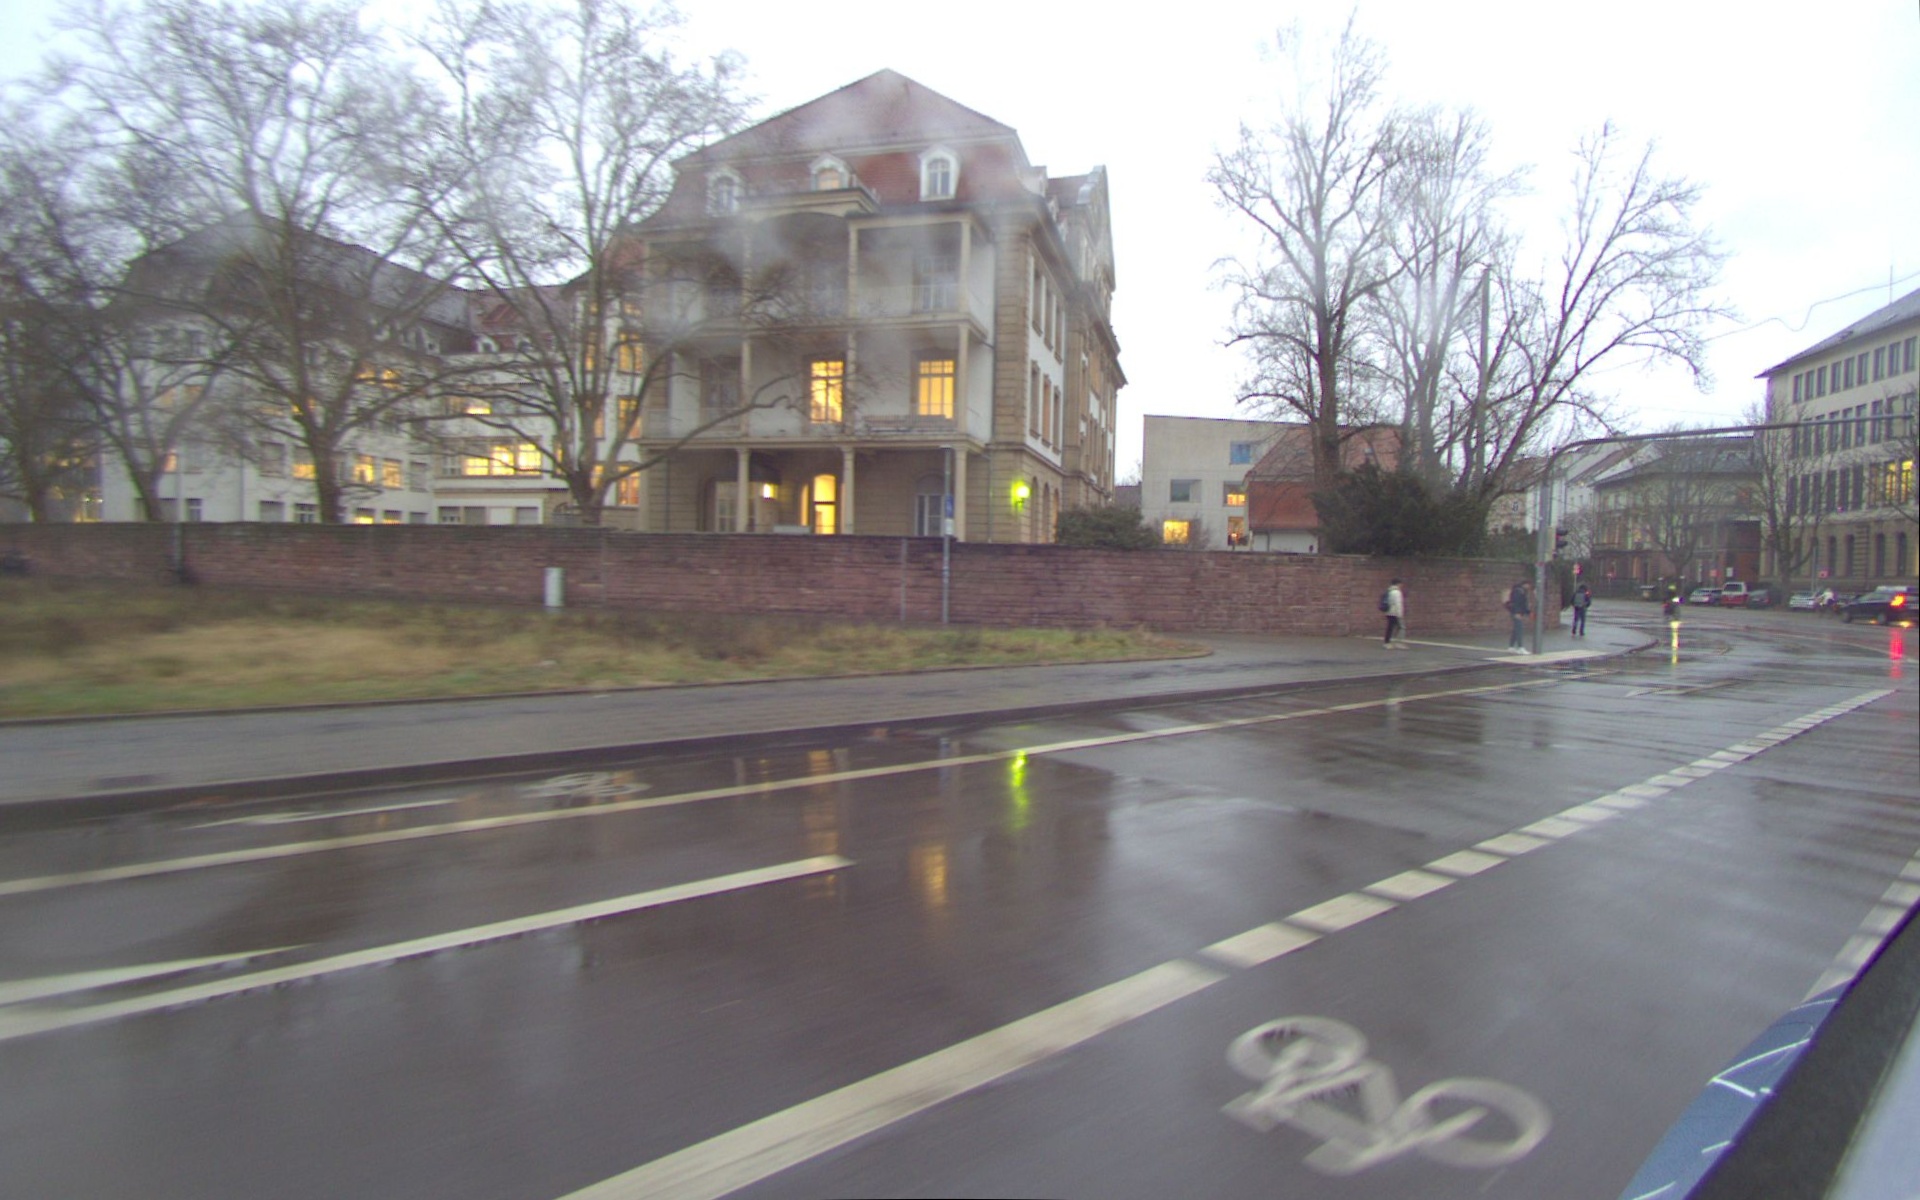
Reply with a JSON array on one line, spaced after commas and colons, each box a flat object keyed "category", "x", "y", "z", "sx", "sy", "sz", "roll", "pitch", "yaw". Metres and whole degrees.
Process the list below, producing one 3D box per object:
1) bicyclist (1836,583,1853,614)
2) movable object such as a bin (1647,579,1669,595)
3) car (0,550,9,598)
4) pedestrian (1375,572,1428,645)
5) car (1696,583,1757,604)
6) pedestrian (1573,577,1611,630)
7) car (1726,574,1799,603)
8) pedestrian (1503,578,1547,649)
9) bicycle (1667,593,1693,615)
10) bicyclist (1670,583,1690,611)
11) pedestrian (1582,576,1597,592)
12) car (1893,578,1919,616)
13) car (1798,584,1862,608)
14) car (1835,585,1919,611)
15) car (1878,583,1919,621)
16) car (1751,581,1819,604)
[{"category": "bicyclist", "x": 51.335, "y": -0.076, "z": 58.739, "sx": 0.578, "sy": 1.789, "sz": 0.612, "roll": -2, "pitch": 1, "yaw": -32}, {"category": "movable object such as a bin", "x": 64.736, "y": -1.227, "z": 93.863, "sx": 0.966, "sy": 1.482, "sz": 1.347, "roll": -2, "pitch": 2, "yaw": -23}, {"category": "car", "x": -19.917, "y": -0.513, "z": 19.447, "sx": 1.275, "sy": 0.989, "sz": 2.688, "roll": 2, "pitch": 1, "yaw": -16}, {"category": "pedestrian", "x": 10.719, "y": 0.181, "z": 24.606, "sx": 0.947, "sy": 1.696, "sz": 0.777, "roll": 2, "pitch": 2, "yaw": 11}, {"category": "car", "x": 62.473, "y": -0.540, "z": 82.487, "sx": 4.097, "sy": 1.610, "sz": 1.779, "roll": -2, "pitch": 2, "yaw": -14}, {"category": "pedestrian", "x": 21.002, "y": 0.100, "z": 33.630, "sx": 0.805, "sy": 1.705, "sz": 1.139, "roll": 4, "pitch": 3, "yaw": 42}, {"category": "car", "x": 60.953, "y": -0.906, "z": 76.891, "sx": 4.526, "sy": 2.079, "sz": 1.970, "roll": -2, "pitch": 2, "yaw": -12}, {"category": "pedestrian", "x": 13.921, "y": 0.320, "z": 24.942, "sx": 0.788, "sy": 1.696, "sz": 0.720, "roll": 4, "pitch": 3, "yaw": 36}, {"category": "bicycle", "x": 36.727, "y": 0.178, "z": 51.650, "sx": 0.717, "sy": 1.104, "sz": 2.265, "roll": 0, "pitch": 0, "yaw": 25}, {"category": "bicyclist", "x": 36.703, "y": -0.159, "z": 51.610, "sx": 0.710, "sy": 1.359, "sz": 0.713, "roll": 0, "pitch": 1, "yaw": 26}, {"category": "pedestrian", "x": 66.060, "y": -1.684, "z": 106.171, "sx": 0.905, "sy": 1.724, "sz": 0.949, "roll": -1, "pitch": 1, "yaw": -8}, {"category": "car", "x": 56.150, "y": -0.222, "z": 58.173, "sx": 4.704, "sy": 2.058, "sz": 1.916, "roll": -2, "pitch": 2, "yaw": -23}, {"category": "car", "x": 59.288, "y": -0.300, "z": 68.970, "sx": 3.747, "sy": 1.475, "sz": 1.641, "roll": -2, "pitch": 2, "yaw": -19}, {"category": "car", "x": 58.180, "y": -0.156, "z": 64.150, "sx": 4.384, "sy": 1.475, "sz": 1.804, "roll": -2, "pitch": 2, "yaw": -12}, {"category": "car", "x": 45.676, "y": 0.094, "z": 48.241, "sx": 1.745, "sy": 1.682, "sz": 4.484, "roll": 3, "pitch": 3, "yaw": 29}, {"category": "car", "x": 60.127, "y": -0.535, "z": 73.788, "sx": 3.894, "sy": 1.558, "sz": 1.828, "roll": -2, "pitch": 2, "yaw": -13}]
